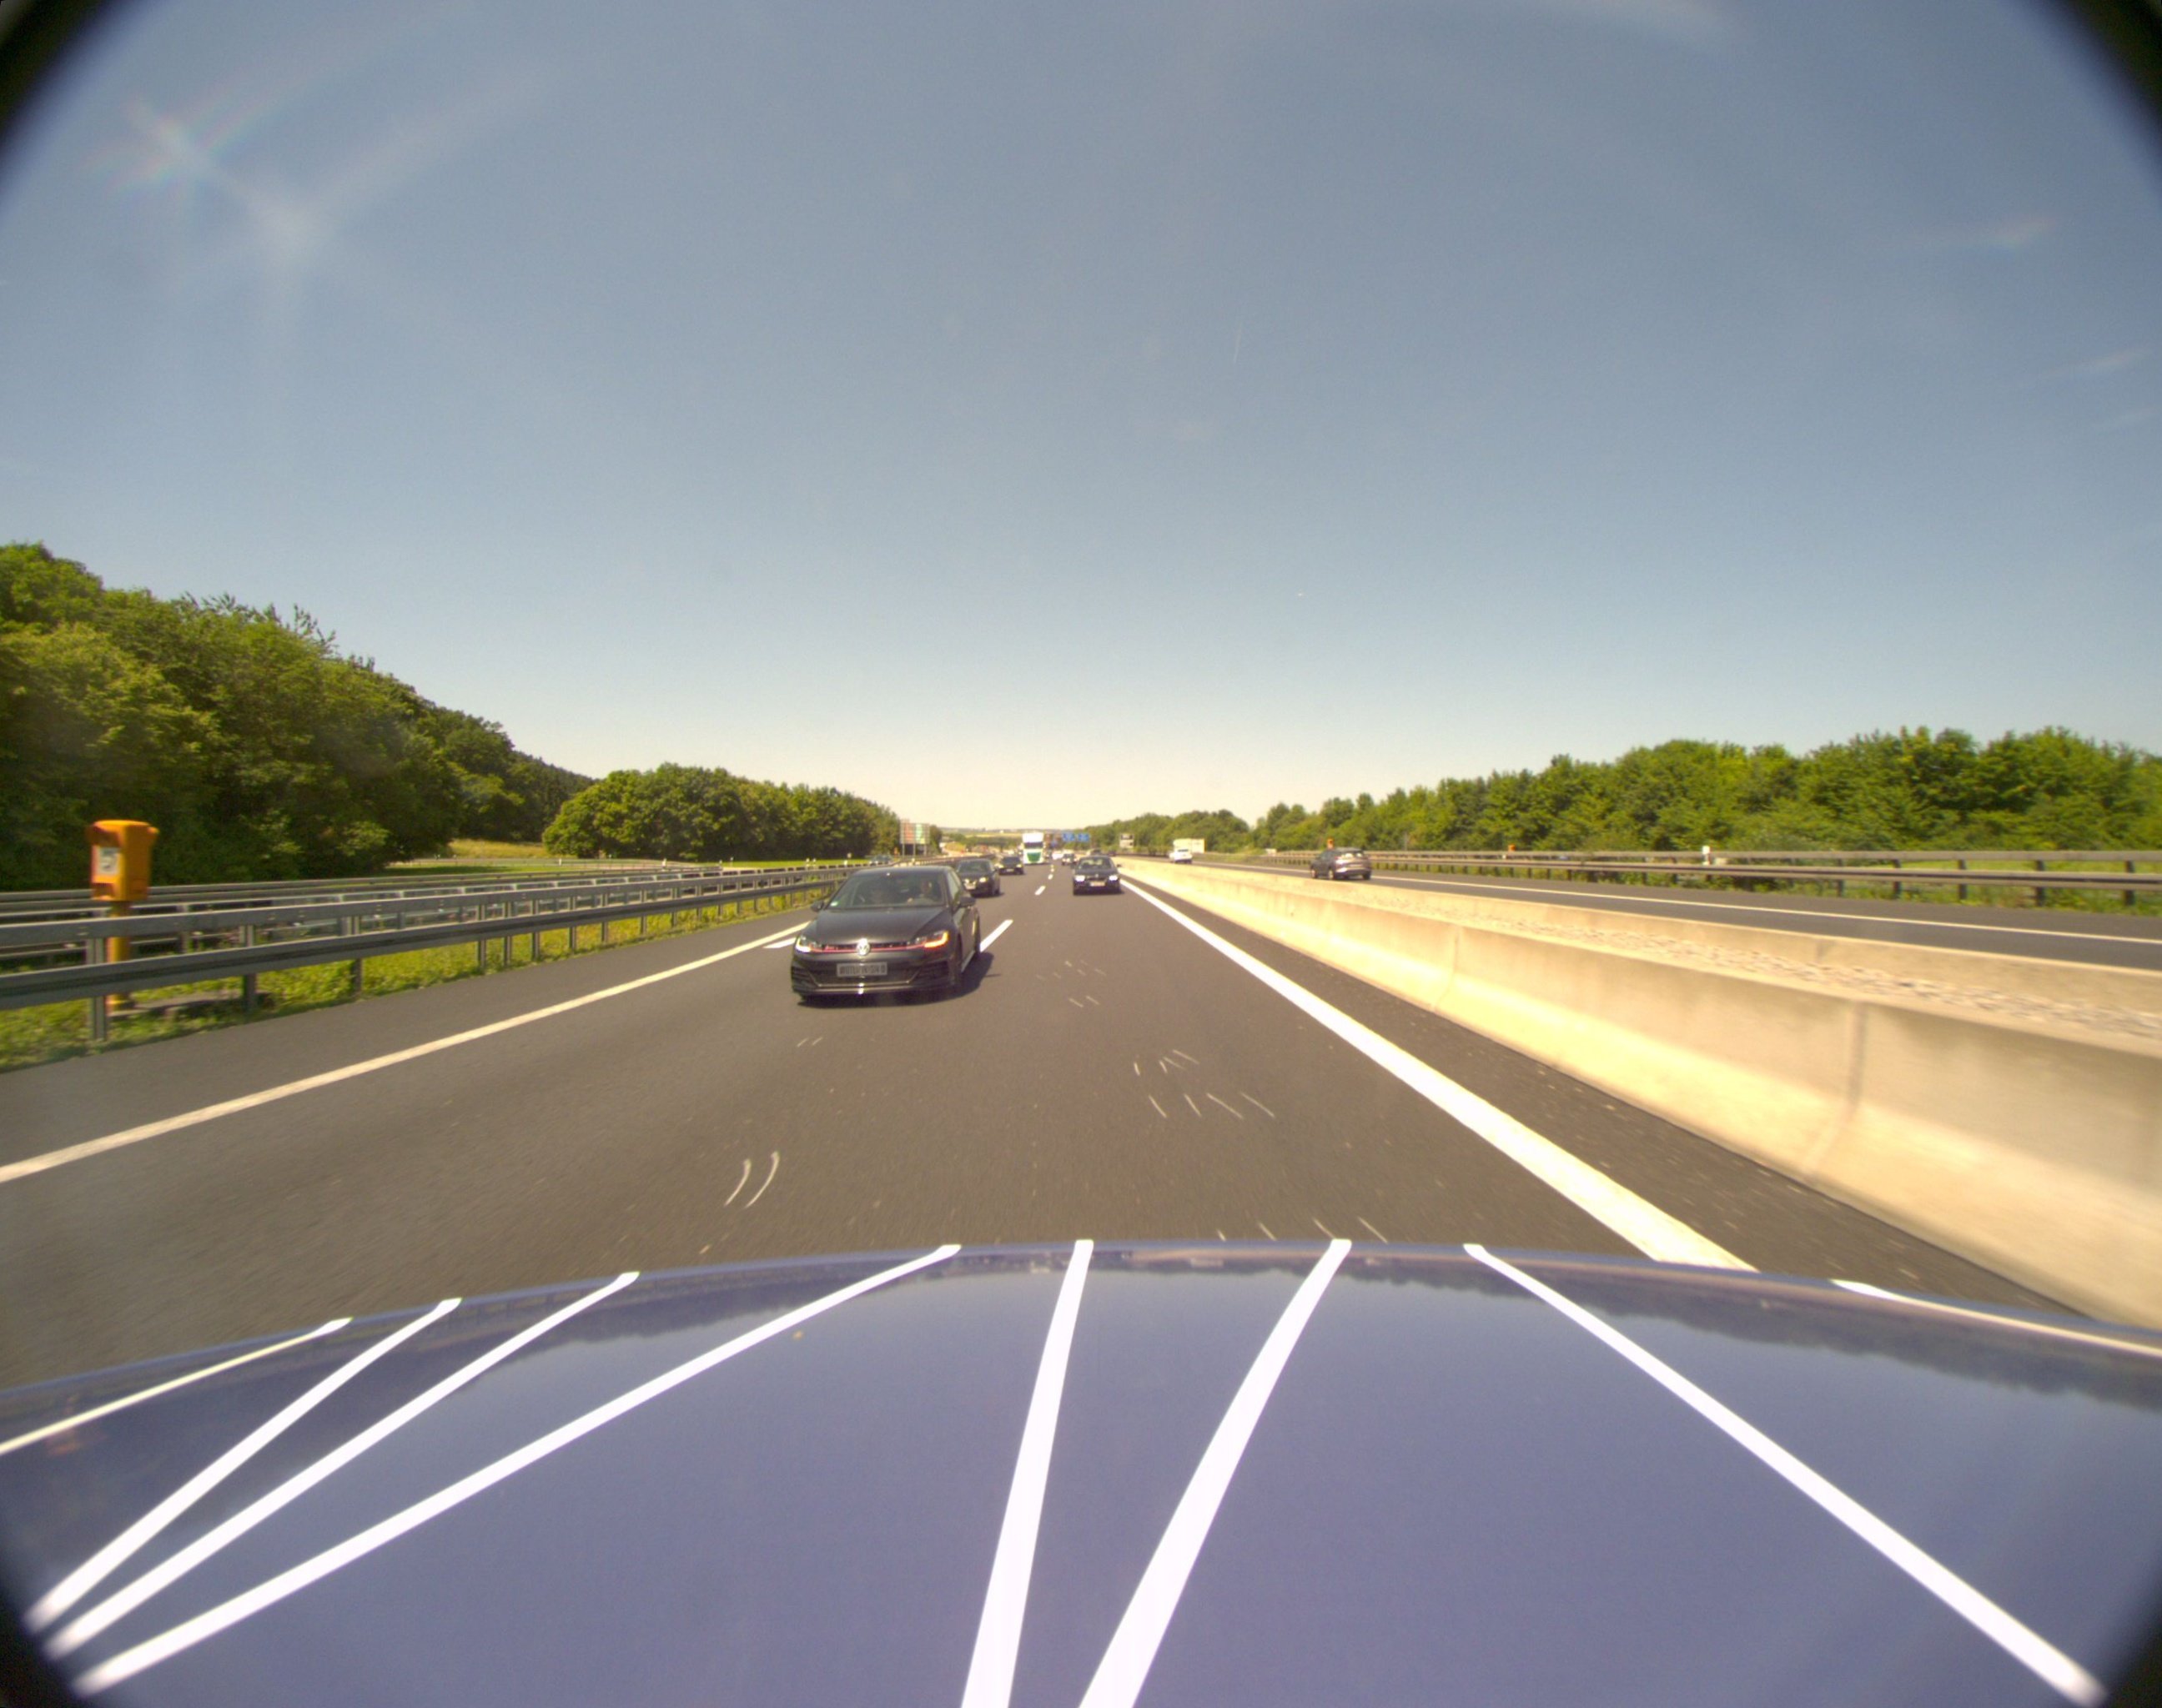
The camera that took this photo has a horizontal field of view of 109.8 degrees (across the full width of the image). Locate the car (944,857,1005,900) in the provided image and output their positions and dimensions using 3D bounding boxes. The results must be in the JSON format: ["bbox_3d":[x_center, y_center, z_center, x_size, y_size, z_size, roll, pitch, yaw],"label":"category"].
[{"bbox_3d":[-4.040,0.894,29.275,1.781,1.392,3.760,-1,1,0],"label":"car"}]

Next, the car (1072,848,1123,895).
[{"bbox_3d":[0.606,0.618,28.896,1.799,1.574,3.999,-1,1,0],"label":"car"}]

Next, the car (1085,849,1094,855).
[{"bbox_3d":[2.191,-0.419,191.148,1.855,1.387,3.998,-3,1,-3],"label":"car"}]

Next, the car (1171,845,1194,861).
[{"bbox_3d":[11.067,-0.130,82.895,1.792,1.622,4.929,-2,1,-1],"label":"car"}]

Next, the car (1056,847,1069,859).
[{"bbox_3d":[-3.172,-0.146,132.230,1.926,2.002,3.997,-1,1,-6],"label":"car"}]

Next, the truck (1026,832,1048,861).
[{"bbox_3d":[-5.685,-1.028,97.598,2.649,3.572,4.401,-1,1,-4],"label":"truck"}]

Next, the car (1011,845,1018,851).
[{"bbox_3d":[-22.696,-1.992,259.644,1.999,2.002,3.998,-1,1,-3],"label":"car"}]

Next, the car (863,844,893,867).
[{"bbox_3d":[-18.646,0.107,70.006,1.999,2.002,3.998,-1,1,-5],"label":"car"}]

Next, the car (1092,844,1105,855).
[{"bbox_3d":[3.400,-0.890,146.703,2.041,1.847,5.372,-1,1,-3],"label":"car"}]

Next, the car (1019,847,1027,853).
[{"bbox_3d":[-16.259,-1.155,213.586,1.999,1.618,3.997,-1,1,-5],"label":"car"}]

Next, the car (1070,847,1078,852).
[{"bbox_3d":[-2.051,-1.337,221.151,1.999,1.535,5.038,-1,1,-4],"label":"car"}]

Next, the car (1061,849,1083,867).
[{"bbox_3d":[-1.086,0.407,88.706,2.000,2.002,3.996,-1,1,-8],"label":"car"}]

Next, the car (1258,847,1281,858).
[{"bbox_3d":[26.452,-0.277,106.681,1.999,1.451,4.867,0,1,-1],"label":"car"}]

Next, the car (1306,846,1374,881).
[{"bbox_3d":[12.317,0.393,36.371,1.732,1.523,4.260,-2,1,0],"label":"car"}]

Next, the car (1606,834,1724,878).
[{"bbox_3d":[24.799,0.044,32.475,1.998,1.757,3.999,-1,1,1],"label":"car"}]

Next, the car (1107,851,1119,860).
[{"bbox_3d":[6.650,0.339,158.803,1.999,1.814,4.903,-1,1,-2],"label":"car"}]

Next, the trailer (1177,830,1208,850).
[{"bbox_3d":[22.935,-2.899,156.938,3.117,3.974,14.076,-1,1,-4],"label":"trailer"}]

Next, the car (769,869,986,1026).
[{"bbox_3d":[-2.322,0.989,9.756,1.799,1.427,3.965,-2,1,-2],"label":"car"}]

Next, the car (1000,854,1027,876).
[{"bbox_3d":[-5.149,0.794,57.267,1.893,1.464,3.864,-1,1,-6],"label":"car"}]
